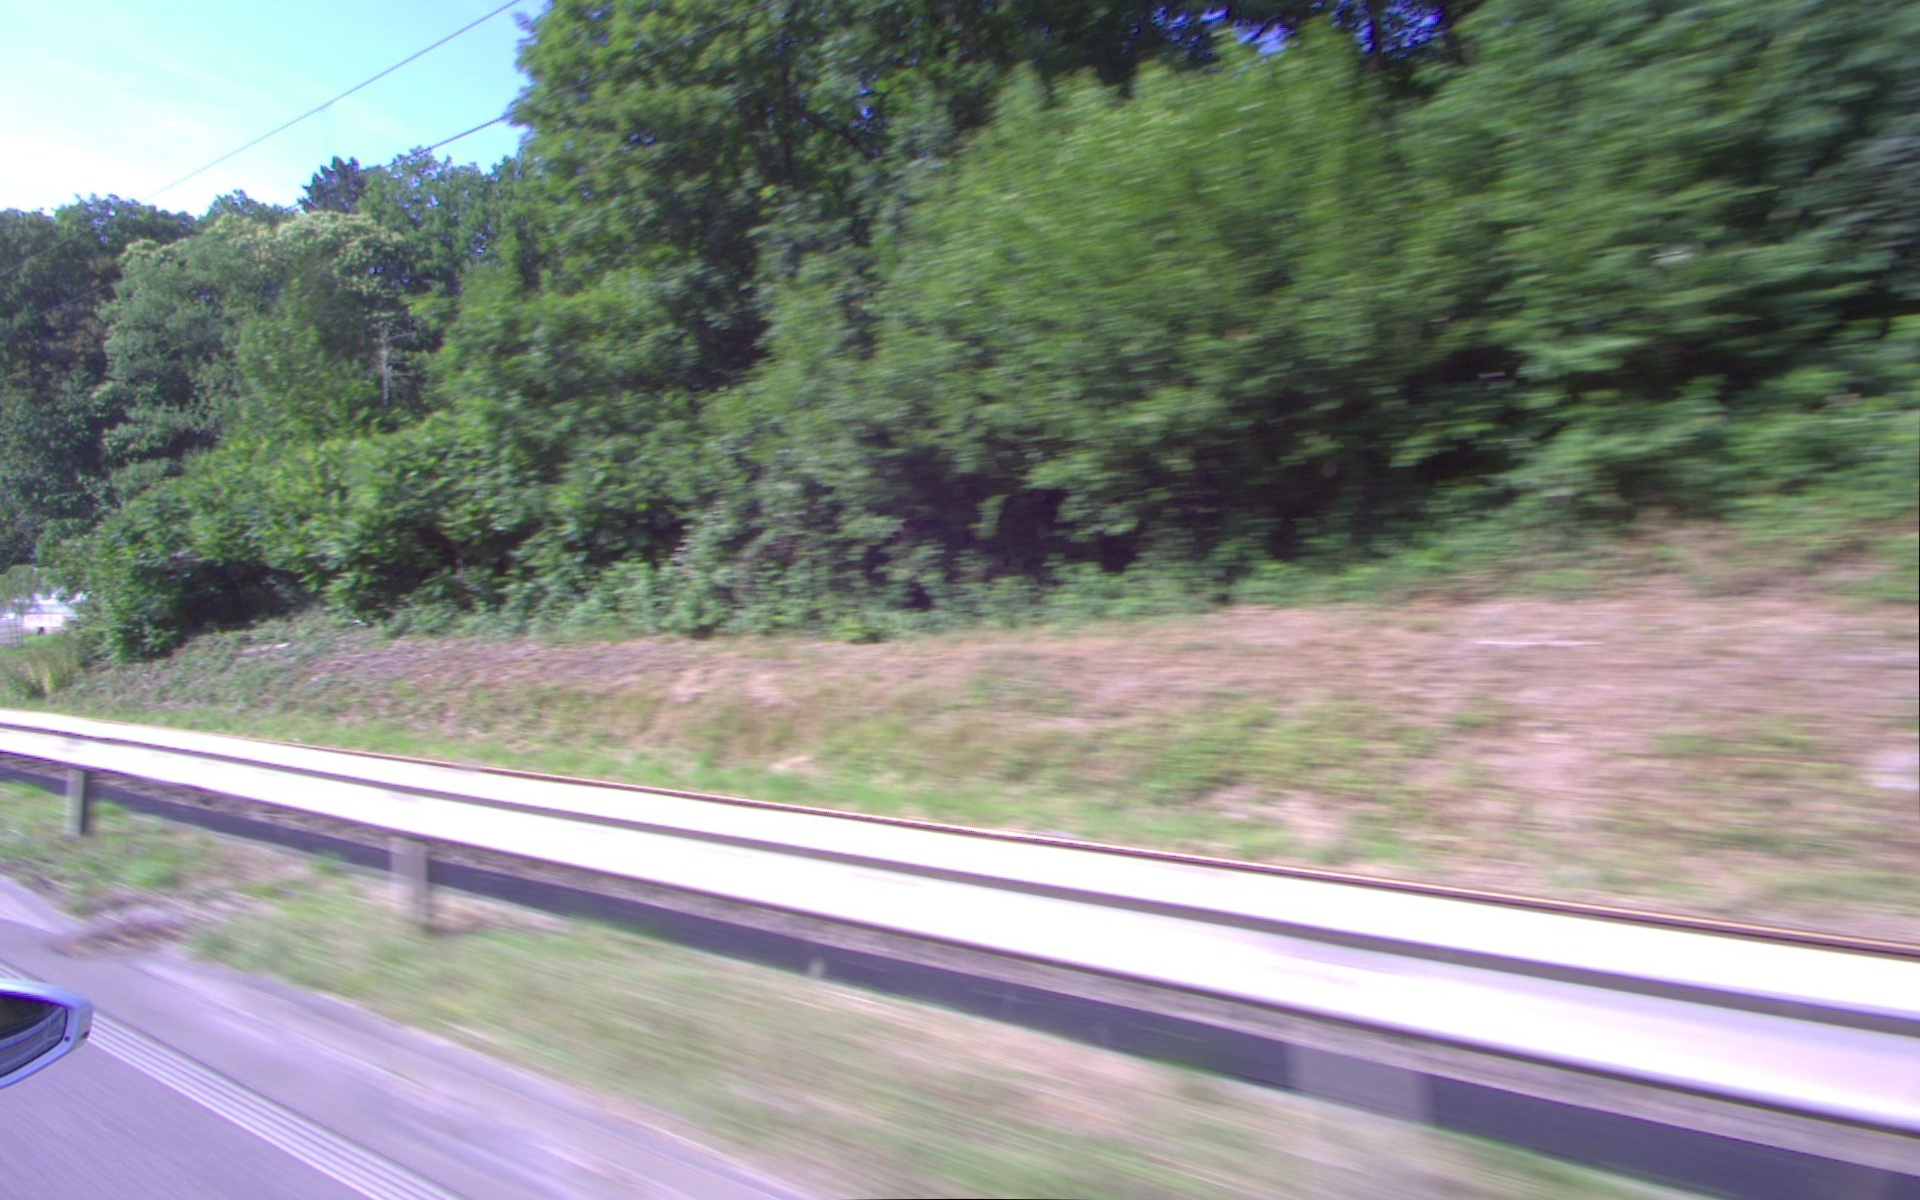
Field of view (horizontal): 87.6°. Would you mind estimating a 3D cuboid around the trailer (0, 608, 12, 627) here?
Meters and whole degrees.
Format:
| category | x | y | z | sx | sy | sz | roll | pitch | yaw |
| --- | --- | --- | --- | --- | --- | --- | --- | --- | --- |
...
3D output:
| category | x | y | z | sx | sy | sz | roll | pitch | yaw |
| --- | --- | --- | --- | --- | --- | --- | --- | --- | --- |
| trailer | -63.705 | 1.123 | 65.109 | 3.659 | 1.207 | 2.065 | -1 | -2 | 30 |
